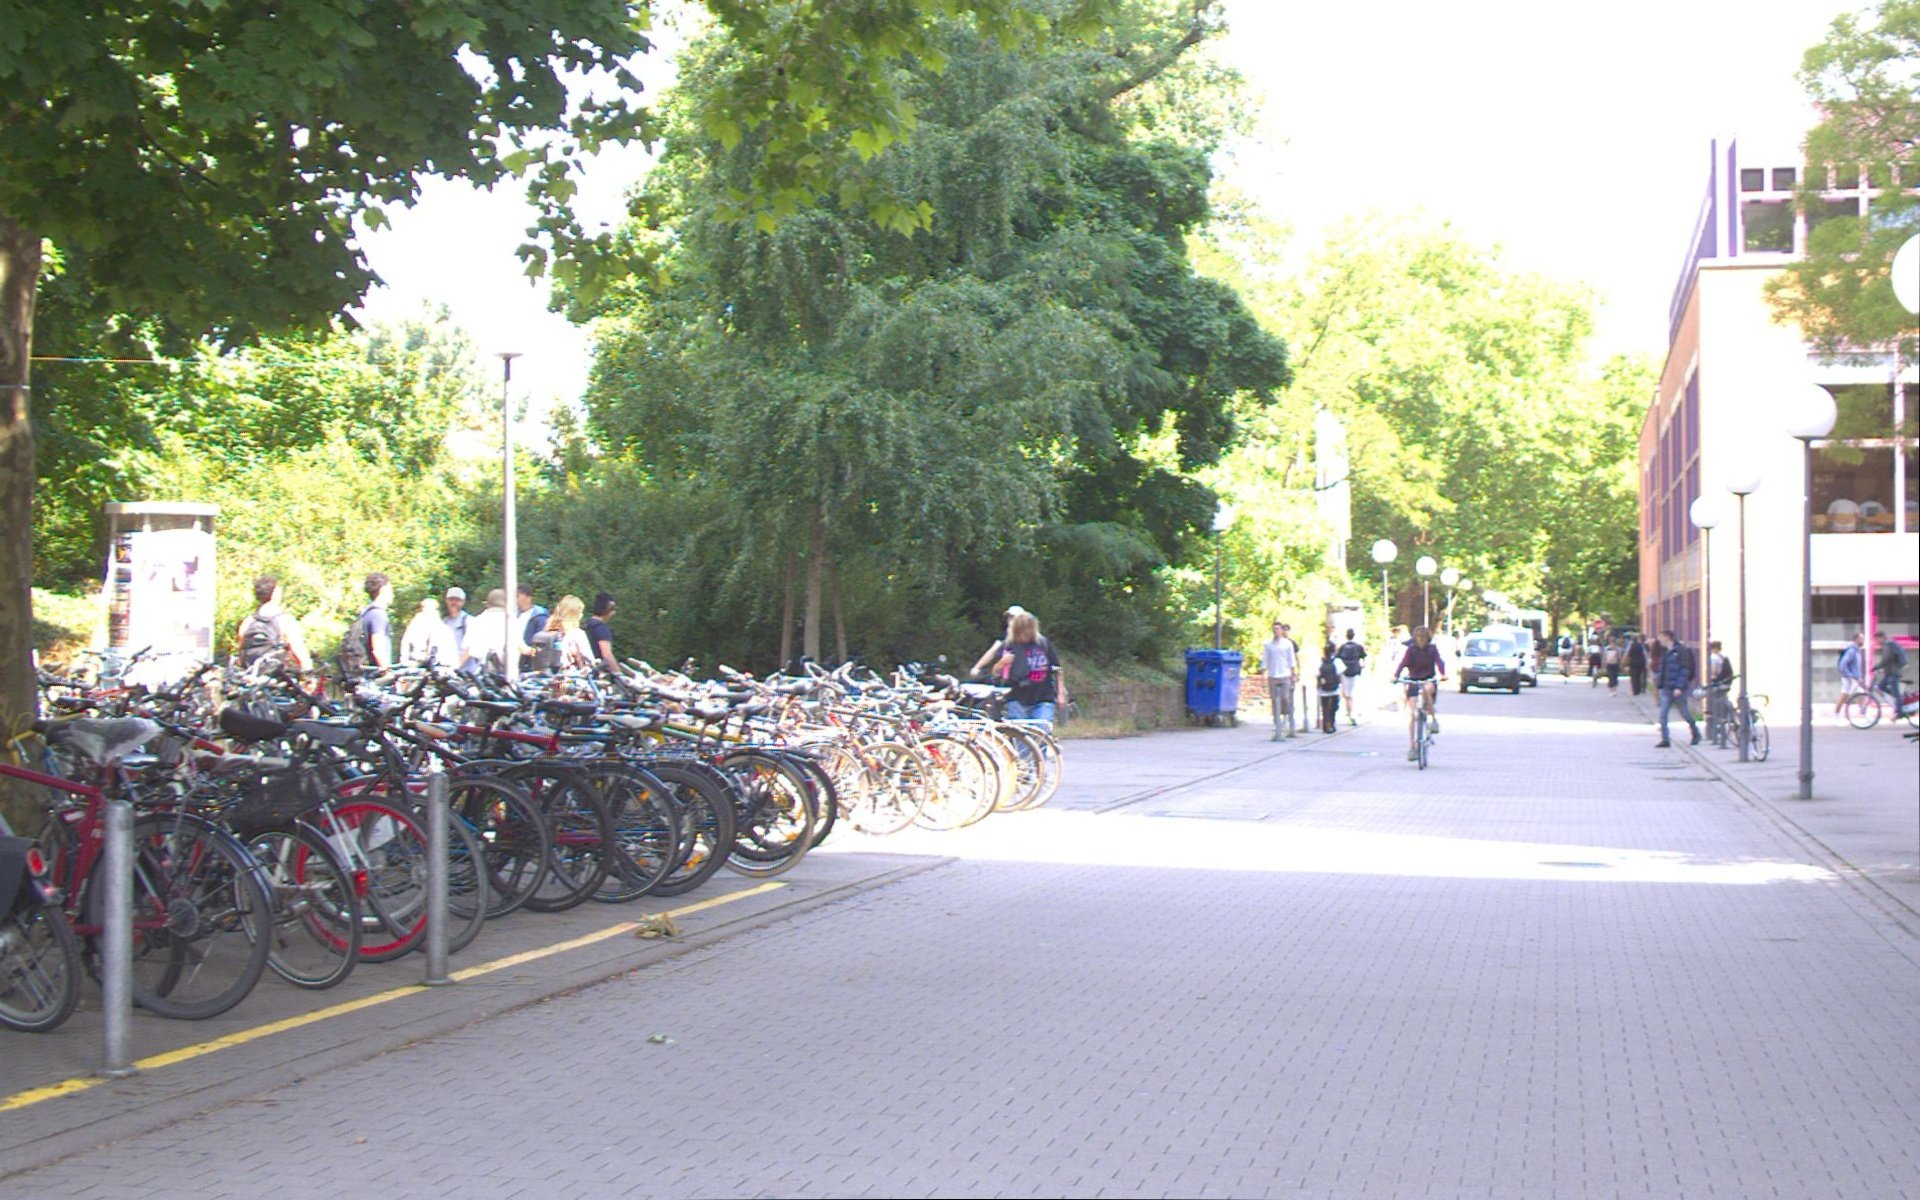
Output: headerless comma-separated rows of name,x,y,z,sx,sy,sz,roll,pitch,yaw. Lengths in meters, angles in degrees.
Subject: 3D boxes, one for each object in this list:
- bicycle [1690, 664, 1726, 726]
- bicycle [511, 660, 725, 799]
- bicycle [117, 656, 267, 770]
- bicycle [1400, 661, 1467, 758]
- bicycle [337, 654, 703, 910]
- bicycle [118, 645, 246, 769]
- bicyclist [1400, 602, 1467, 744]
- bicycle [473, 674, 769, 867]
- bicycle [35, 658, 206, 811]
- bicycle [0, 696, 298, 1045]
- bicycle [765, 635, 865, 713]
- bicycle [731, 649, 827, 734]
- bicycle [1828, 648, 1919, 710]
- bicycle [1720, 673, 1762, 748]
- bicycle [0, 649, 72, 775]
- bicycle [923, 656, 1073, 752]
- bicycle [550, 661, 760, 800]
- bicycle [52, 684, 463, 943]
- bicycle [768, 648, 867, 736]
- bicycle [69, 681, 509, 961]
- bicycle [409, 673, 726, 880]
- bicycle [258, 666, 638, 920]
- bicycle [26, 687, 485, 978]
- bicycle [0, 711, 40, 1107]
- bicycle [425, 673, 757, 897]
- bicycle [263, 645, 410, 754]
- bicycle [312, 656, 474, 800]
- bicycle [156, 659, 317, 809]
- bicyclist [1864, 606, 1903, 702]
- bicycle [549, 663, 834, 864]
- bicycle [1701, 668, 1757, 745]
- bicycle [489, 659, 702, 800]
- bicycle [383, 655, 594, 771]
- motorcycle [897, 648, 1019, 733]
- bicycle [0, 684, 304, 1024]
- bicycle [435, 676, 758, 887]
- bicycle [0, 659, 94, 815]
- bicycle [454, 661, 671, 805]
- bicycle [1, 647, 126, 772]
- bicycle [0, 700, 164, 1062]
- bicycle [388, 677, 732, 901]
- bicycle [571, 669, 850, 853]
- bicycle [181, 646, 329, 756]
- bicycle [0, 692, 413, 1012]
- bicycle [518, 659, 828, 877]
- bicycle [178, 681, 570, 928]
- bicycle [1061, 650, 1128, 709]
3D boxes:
bicycle,12.181,1.547,56.000,0.451,0.959,1.739,-3,-1,9
bicycle,-2.790,1.043,28.034,1.720,1.080,0.473,0,-1,25
bicycle,-7.814,1.138,34.958,1.776,1.106,0.473,0,-1,39
bicycle,5.755,1.329,41.857,0.771,1.146,2.107,-1,-2,7
bicycle,-2.186,0.896,17.171,1.735,1.231,0.497,1,-1,3
bicycle,-7.299,0.989,32.204,0.472,1.106,1.777,1,-1,-36
bicyclist,5.757,0.891,41.853,0.771,1.710,0.911,-1,-2,7
bicycle,-2.004,1.004,20.452,1.694,1.104,0.566,1,-1,-1
bicycle,-6.265,0.983,25.611,0.473,1.080,1.699,1,-1,-42
bicycle,-3.093,0.892,11.734,1.626,1.104,0.496,0,-1,24
bicycle,-1.990,1.025,47.472,0.473,1.043,1.696,2,0,32
bicycle,-2.310,1.157,43.682,0.472,1.043,1.699,1,-1,-31
bicycle,16.674,1.422,62.062,1.903,1.080,0.588,0,-1,17
bicycle,10.183,1.434,44.870,0.396,0.933,1.731,-2,-1,9
bicycle,-8.746,1.003,31.386,0.473,1.106,1.777,1,-1,-41
bicycle,0.455,1.218,40.469,1.839,1.106,0.474,1,-1,-37
bicycle,-2.533,1.073,28.514,1.696,1.106,0.473,0,-1,23
bicycle,-3.103,0.934,15.196,1.734,1.104,0.497,1,-1,-14
bicycle,-1.832,1.170,44.088,0.472,1.043,1.700,3,0,-31
bicycle,-2.816,0.919,14.484,1.735,1.122,0.497,1,-1,5
bicycle,-2.161,0.971,19.029,1.694,1.104,0.474,1,-1,-1
bicycle,-2.474,0.919,16.652,1.735,1.174,0.497,1,-1,9
bicycle,-2.833,0.921,13.857,1.736,1.104,0.497,1,-1,10
bicycle,-3.558,0.858,9.746,1.723,1.104,0.718,0,-1,21
bicycle,-1.935,0.971,18.145,1.694,1.141,0.474,1,-1,-2
bicycle,-6.628,1.047,36.510,1.776,1.106,0.473,0,-1,39
bicycle,-4.470,0.990,27.012,0.473,1.080,1.699,1,-1,-39
bicycle,-5.523,1.002,26.180,0.473,1.080,1.699,1,-1,-39
bicyclist,16.678,0.970,62.080,0.664,1.710,0.588,0,-1,17
bicycle,-1.626,0.991,20.945,1.694,1.183,0.474,1,-1,-1
bicycle,11.342,1.564,50.759,0.708,1.089,1.748,0,0,9
bicycle,-2.927,1.026,27.560,1.696,1.080,0.473,0,-1,26
bicycle,-4.377,1.048,31.972,1.902,1.043,0.542,1,-1,-5
motorcycle,-0.040,1.197,45.955,0.472,1.043,2.025,1,0,-37
bicycle,-3.194,0.885,12.372,1.626,1.140,0.496,0,-1,24
bicycle,-1.957,0.975,18.614,1.694,1.104,0.474,1,-1,-2
bicycle,-6.926,0.970,24.843,0.473,1.080,1.698,1,-1,-45
bicycle,-3.139,1.037,27.102,1.696,1.080,0.473,0,-1,26
bicycle,-8.266,0.993,31.668,0.472,1.106,1.777,1,-1,-36
bicycle,-3.453,0.879,11.254,1.626,1.104,0.562,0,-1,24
bicycle,-2.040,0.962,17.631,1.694,1.104,0.497,1,-1,0
bicycle,-1.546,1.000,21.467,1.694,1.104,0.582,1,-1,-1
bicycle,-7.332,1.038,35.700,1.776,1.106,0.473,0,-1,39
bicycle,-2.946,0.921,12.991,1.738,1.104,0.574,0,-1,29
bicycle,-1.620,0.943,19.541,1.694,1.194,0.536,1,-1,2
bicycle,-2.711,0.942,15.993,1.735,1.104,0.497,1,-1,-2
bicycle,2.161,1.284,54.998,0.422,0.907,1.737,0,-2,25
